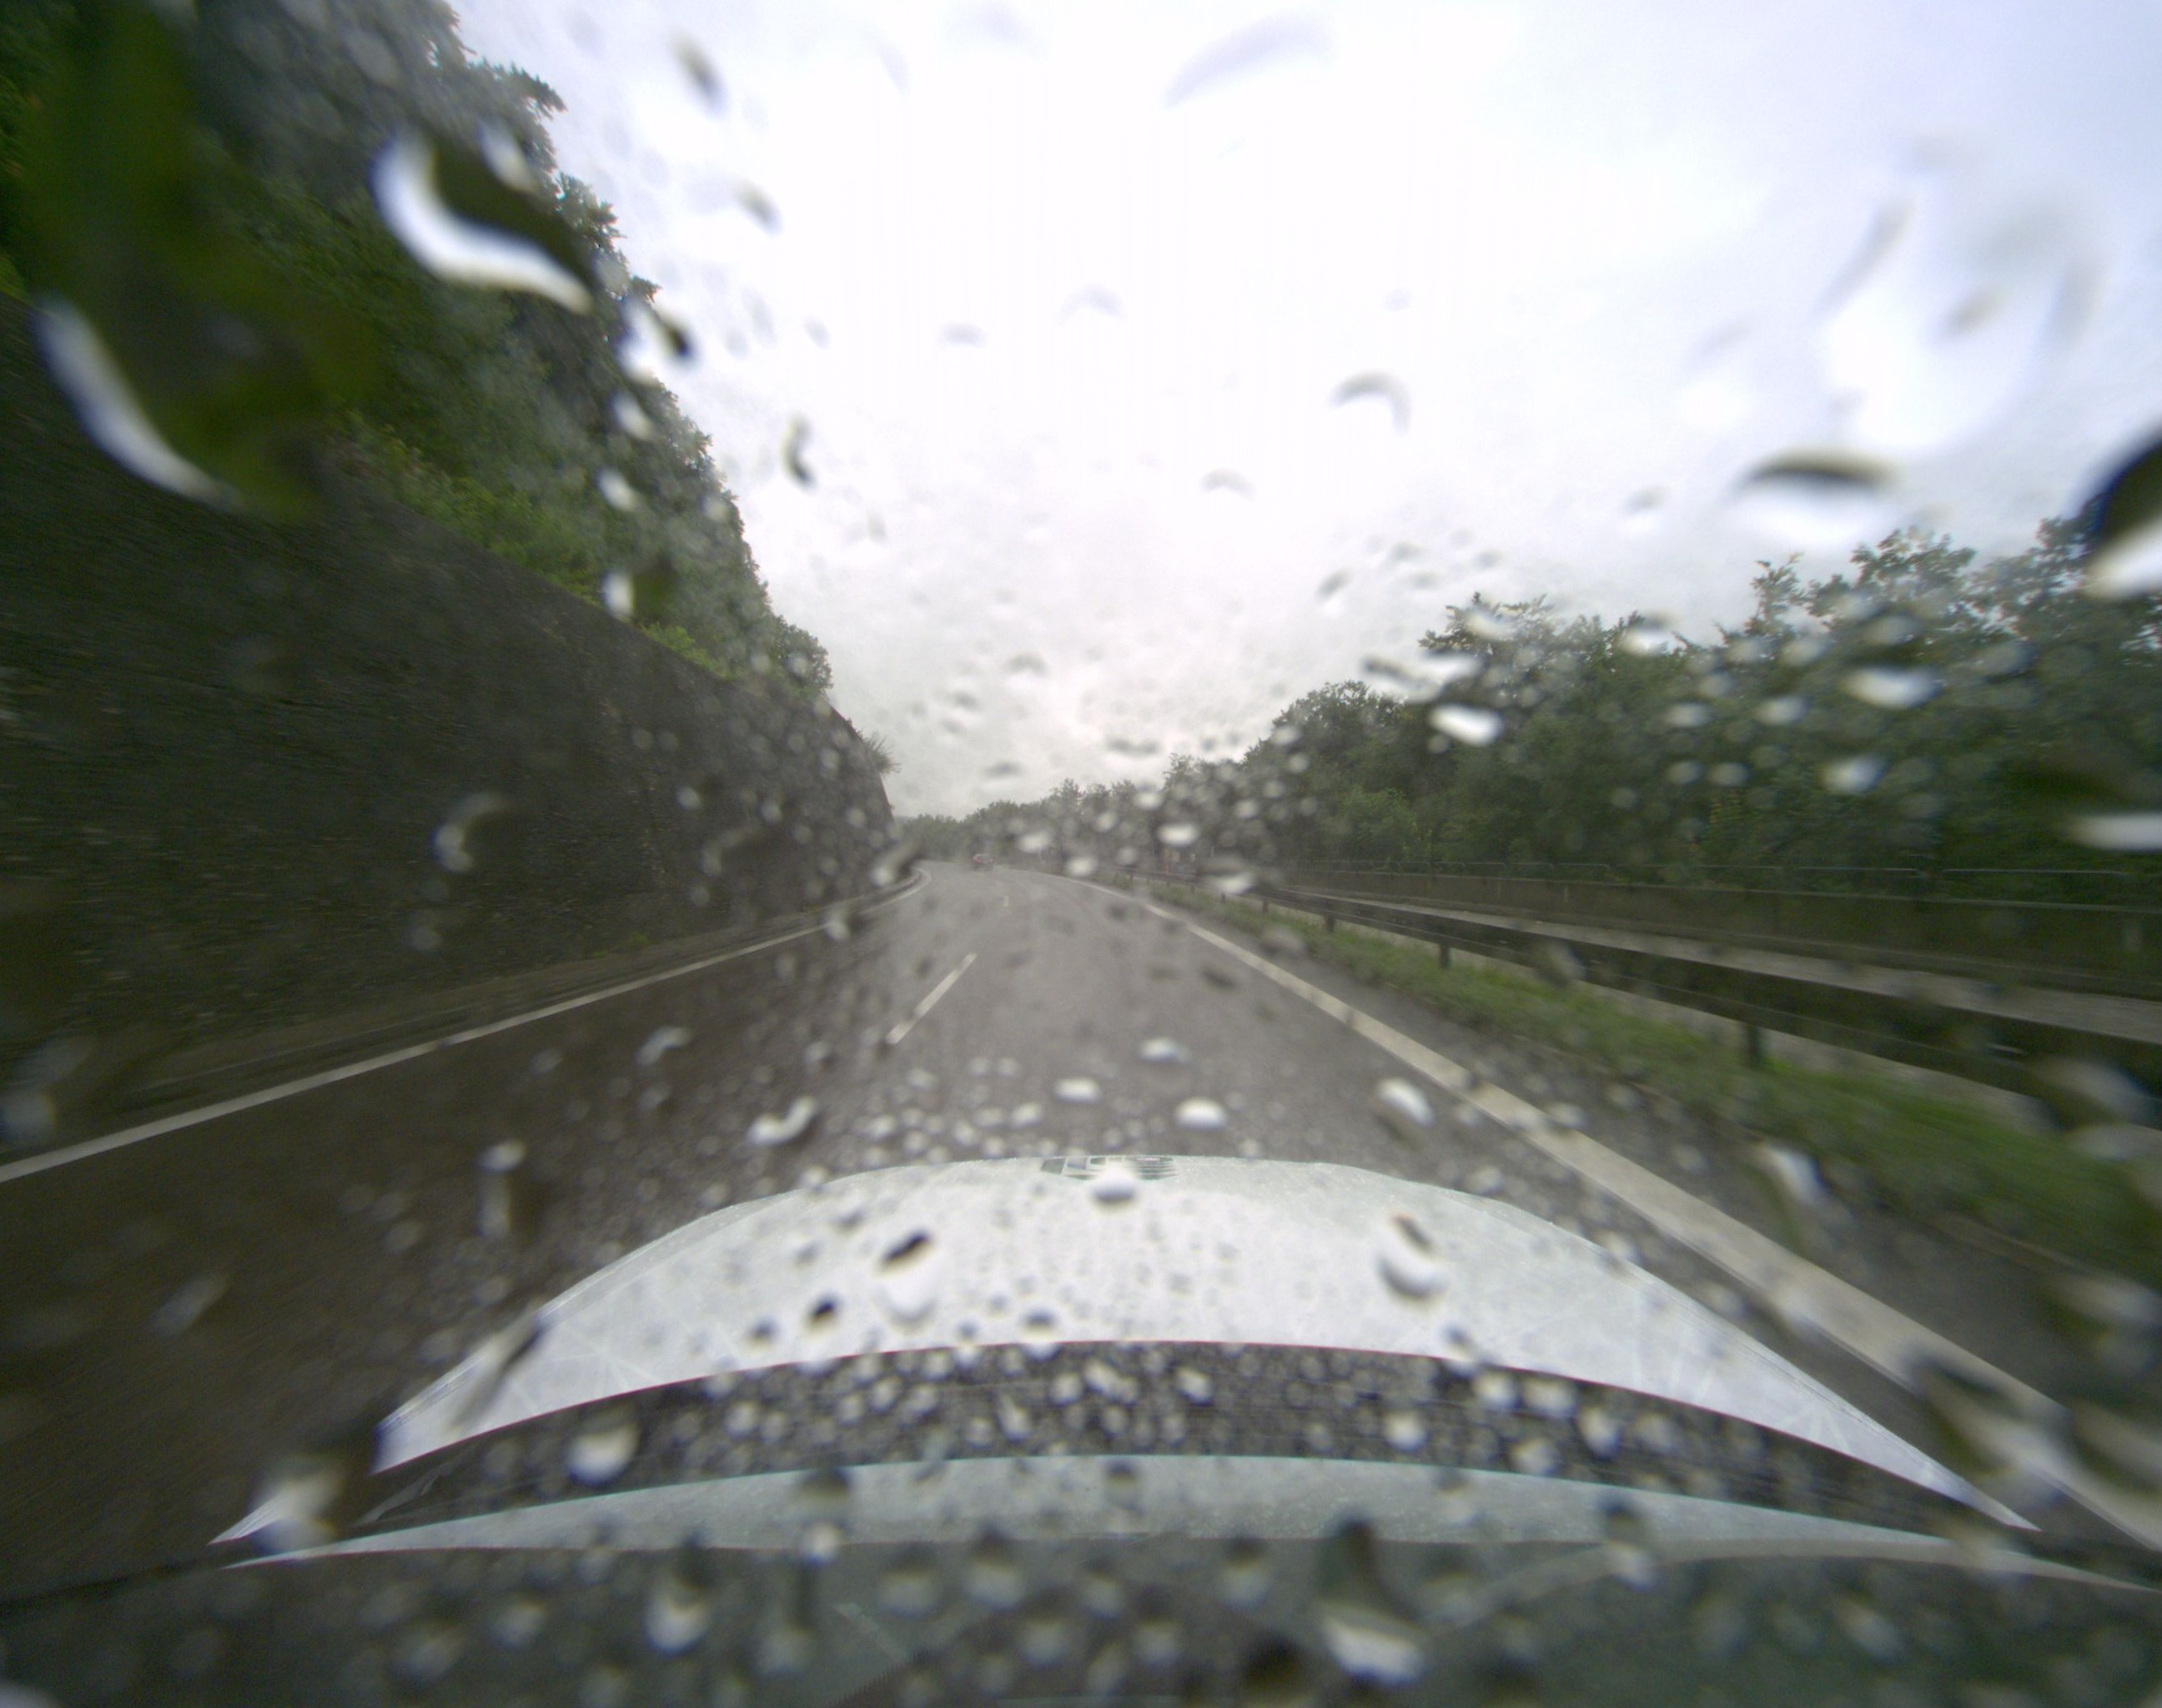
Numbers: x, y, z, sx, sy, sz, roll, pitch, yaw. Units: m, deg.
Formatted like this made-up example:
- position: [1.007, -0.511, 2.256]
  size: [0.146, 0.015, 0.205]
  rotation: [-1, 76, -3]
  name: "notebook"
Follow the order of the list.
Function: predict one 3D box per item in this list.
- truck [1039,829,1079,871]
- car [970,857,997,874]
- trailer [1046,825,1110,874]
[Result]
- position: [-2.411, -0.387, 86.853]
  size: [2.900, 4.245, 6.849]
  rotation: [0, 0, -13]
  name: "truck"
- position: [-9.044, 1.059, 75.545]
  size: [1.907, 1.499, 3.979]
  rotation: [2, 0, -15]
  name: "car"
- position: [-0.564, -0.377, 79.021]
  size: [2.896, 4.245, 14.629]
  rotation: [0, 0, -13]
  name: "trailer"
